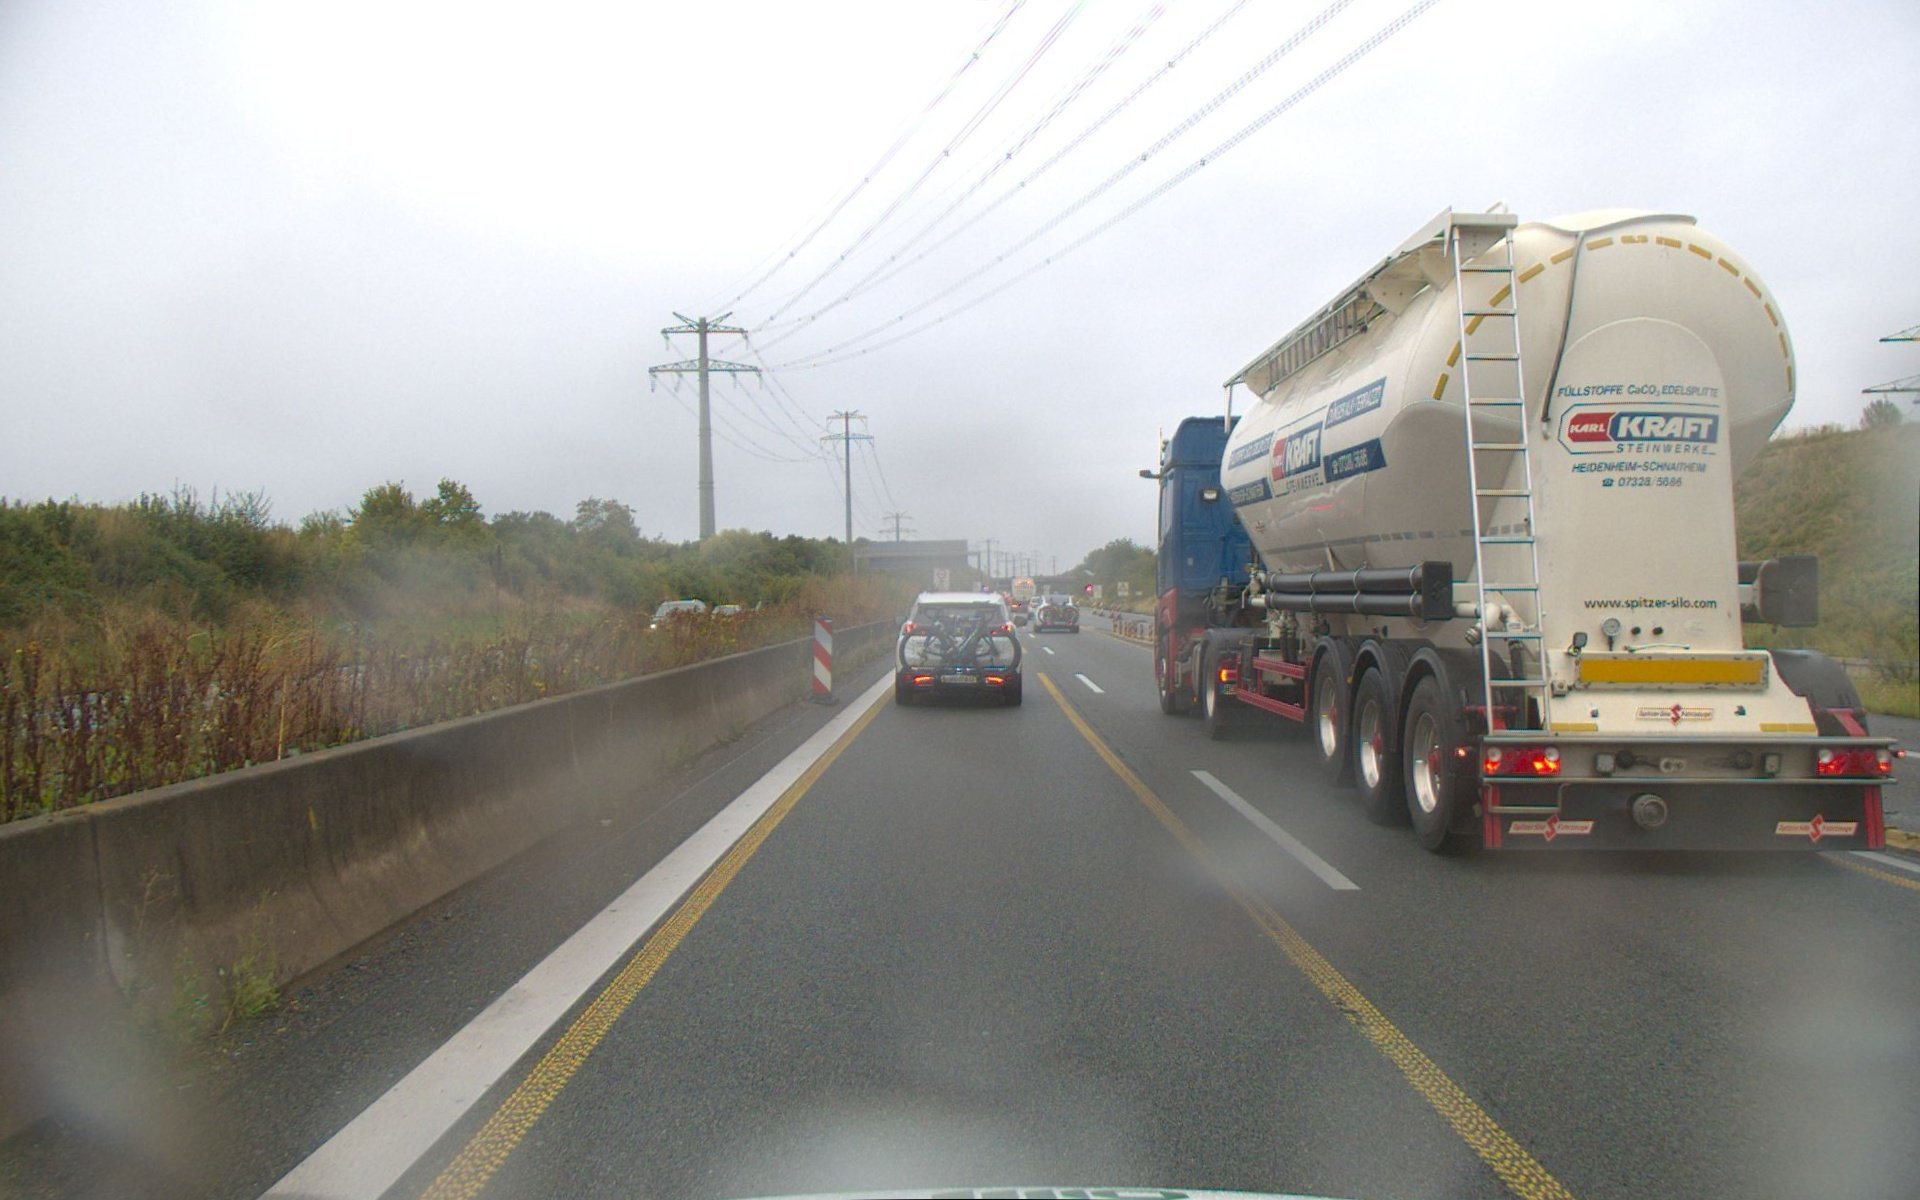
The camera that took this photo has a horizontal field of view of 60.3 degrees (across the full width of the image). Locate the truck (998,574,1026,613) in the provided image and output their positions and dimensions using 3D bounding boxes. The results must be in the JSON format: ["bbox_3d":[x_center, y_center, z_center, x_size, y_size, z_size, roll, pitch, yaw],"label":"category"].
[{"bbox_3d":[5.385,-0.678,172.440,2.592,3.959,4.028,1,-1,-3],"label":"truck"}]

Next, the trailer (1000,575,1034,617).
[{"bbox_3d":[5.654,-0.345,165.797,2.585,3.961,10.537,1,-1,-2],"label":"trailer"}]

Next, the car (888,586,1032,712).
[{"bbox_3d":[-0.005,0.639,23.999,1.889,1.639,4.595,0,0,0],"label":"car"}]

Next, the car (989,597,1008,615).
[{"bbox_3d":[4.460,0.732,193.749,1.953,2.049,3.998,1,-1,-2],"label":"car"}]

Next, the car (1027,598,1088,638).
[{"bbox_3d":[4.163,0.747,71.439,2.004,1.624,5.798,1,0,-2],"label":"car"}]

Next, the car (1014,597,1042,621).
[{"bbox_3d":[4.597,0.590,112.322,1.831,1.561,4.197,0,0,1],"label":"car"}]

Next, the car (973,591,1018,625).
[{"bbox_3d":[1.711,0.376,81.103,1.953,1.611,3.998,0,0,-3],"label":"car"}]

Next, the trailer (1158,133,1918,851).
[{"bbox_3d":[3.919,-0.531,15.231,2.468,3.901,12.347,1,-1,-1],"label":"trailer"}]

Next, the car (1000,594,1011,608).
[{"bbox_3d":[6.766,0.156,244.962,1.619,2.049,4.001,0,0,2],"label":"car"}]

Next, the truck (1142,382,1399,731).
[{"bbox_3d":[3.835,-0.488,21.225,2.495,4.016,3.999,1,-1,0],"label":"truck"}]
